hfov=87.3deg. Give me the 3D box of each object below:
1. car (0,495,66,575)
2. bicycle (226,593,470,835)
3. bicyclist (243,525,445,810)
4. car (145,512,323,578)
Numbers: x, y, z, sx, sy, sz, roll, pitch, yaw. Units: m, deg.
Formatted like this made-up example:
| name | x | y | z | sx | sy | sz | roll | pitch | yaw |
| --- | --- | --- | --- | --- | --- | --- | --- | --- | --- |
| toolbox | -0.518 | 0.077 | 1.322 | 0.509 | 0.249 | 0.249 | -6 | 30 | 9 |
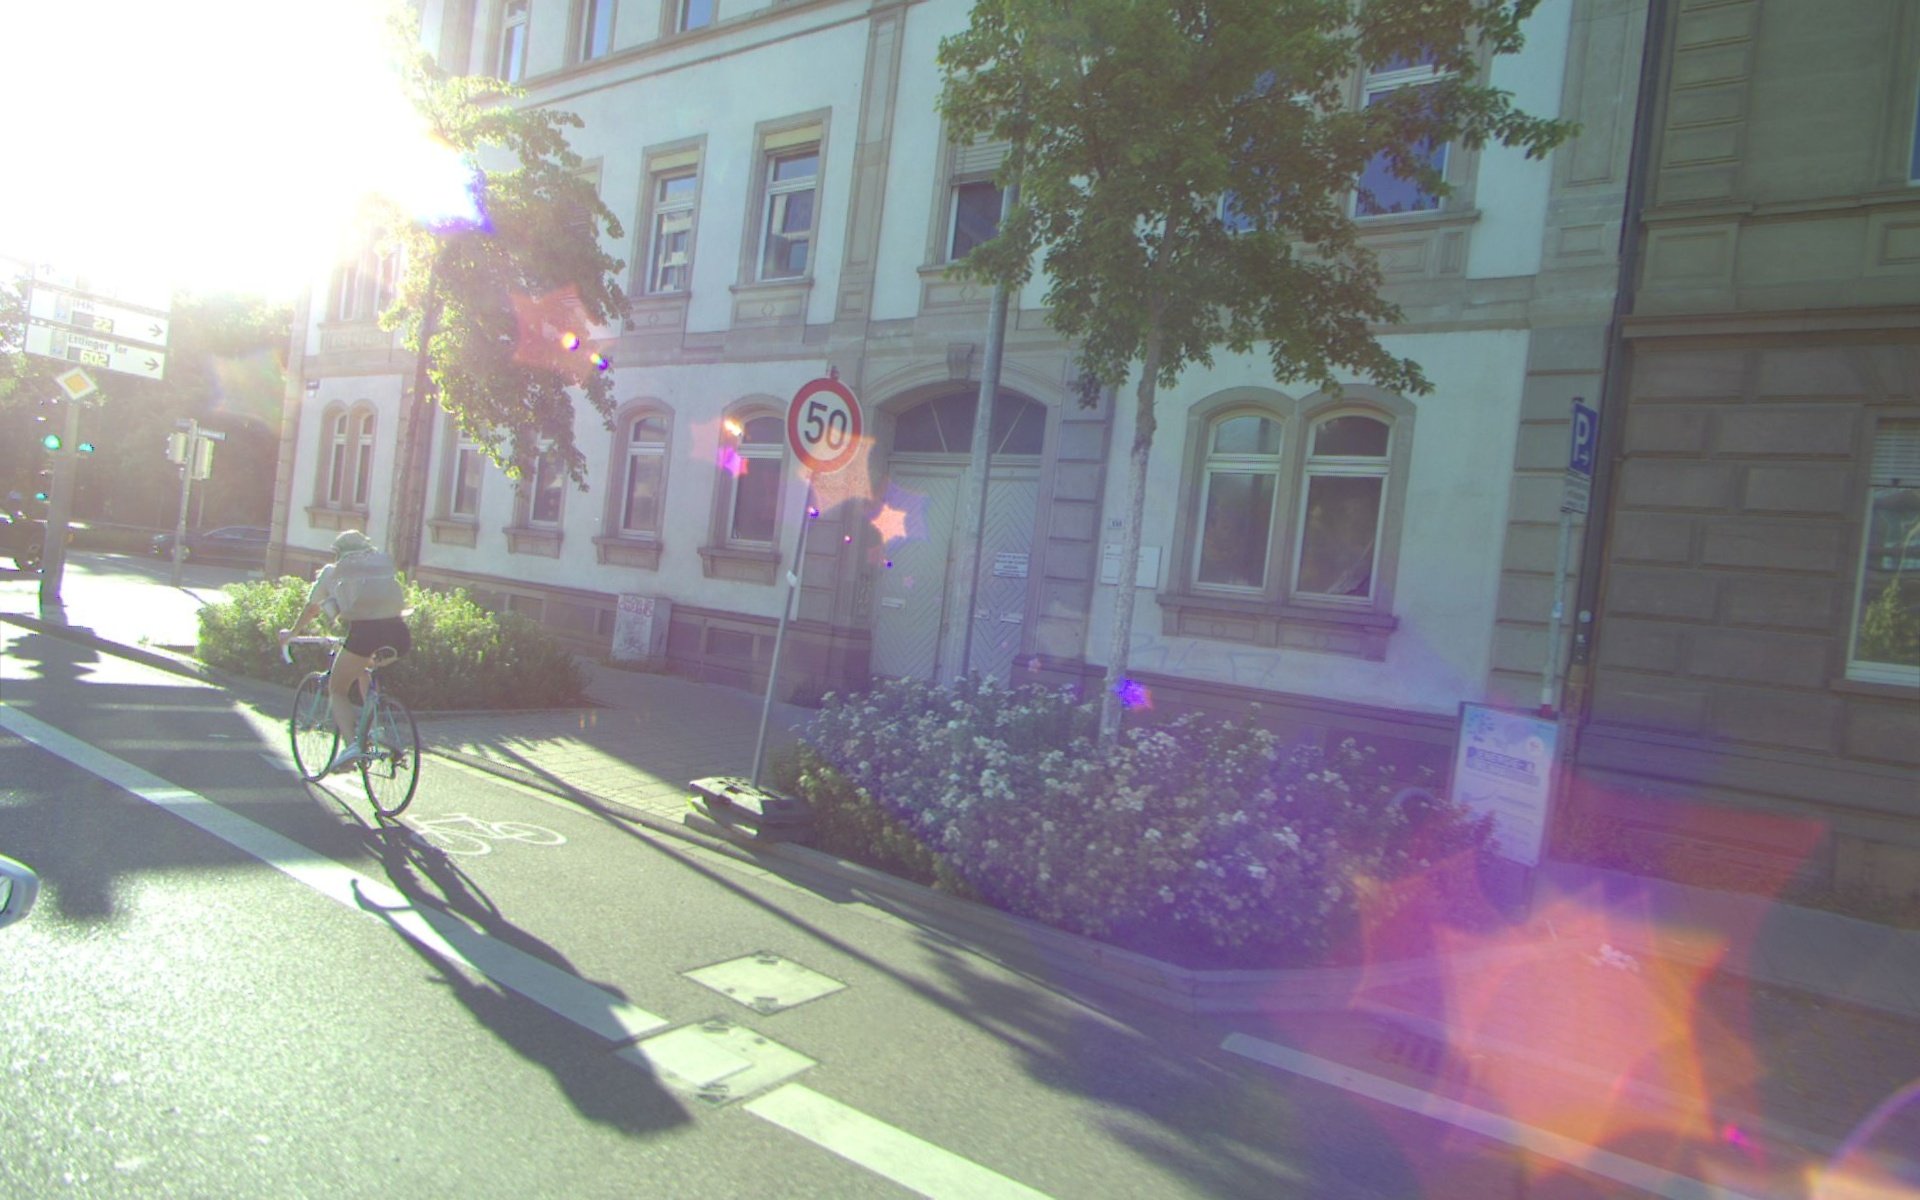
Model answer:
| name | x | y | z | sx | sy | sz | roll | pitch | yaw |
| --- | --- | --- | --- | --- | --- | --- | --- | --- | --- |
| car | -19.763 | -1.407 | 19.462 | 1.873 | 1.545 | 4.048 | 8 | -1 | -14 |
| bicycle | -3.721 | 0.620 | 6.047 | 1.814 | 1.111 | 0.520 | 7 | 0 | 37 |
| bicyclist | -3.700 | 0.368 | 6.024 | 1.065 | 1.509 | 0.552 | 7 | 1 | 38 |
| car | -23.851 | -1.775 | 33.308 | 4.556 | 1.491 | 1.887 | 7 | -1 | -33 |
